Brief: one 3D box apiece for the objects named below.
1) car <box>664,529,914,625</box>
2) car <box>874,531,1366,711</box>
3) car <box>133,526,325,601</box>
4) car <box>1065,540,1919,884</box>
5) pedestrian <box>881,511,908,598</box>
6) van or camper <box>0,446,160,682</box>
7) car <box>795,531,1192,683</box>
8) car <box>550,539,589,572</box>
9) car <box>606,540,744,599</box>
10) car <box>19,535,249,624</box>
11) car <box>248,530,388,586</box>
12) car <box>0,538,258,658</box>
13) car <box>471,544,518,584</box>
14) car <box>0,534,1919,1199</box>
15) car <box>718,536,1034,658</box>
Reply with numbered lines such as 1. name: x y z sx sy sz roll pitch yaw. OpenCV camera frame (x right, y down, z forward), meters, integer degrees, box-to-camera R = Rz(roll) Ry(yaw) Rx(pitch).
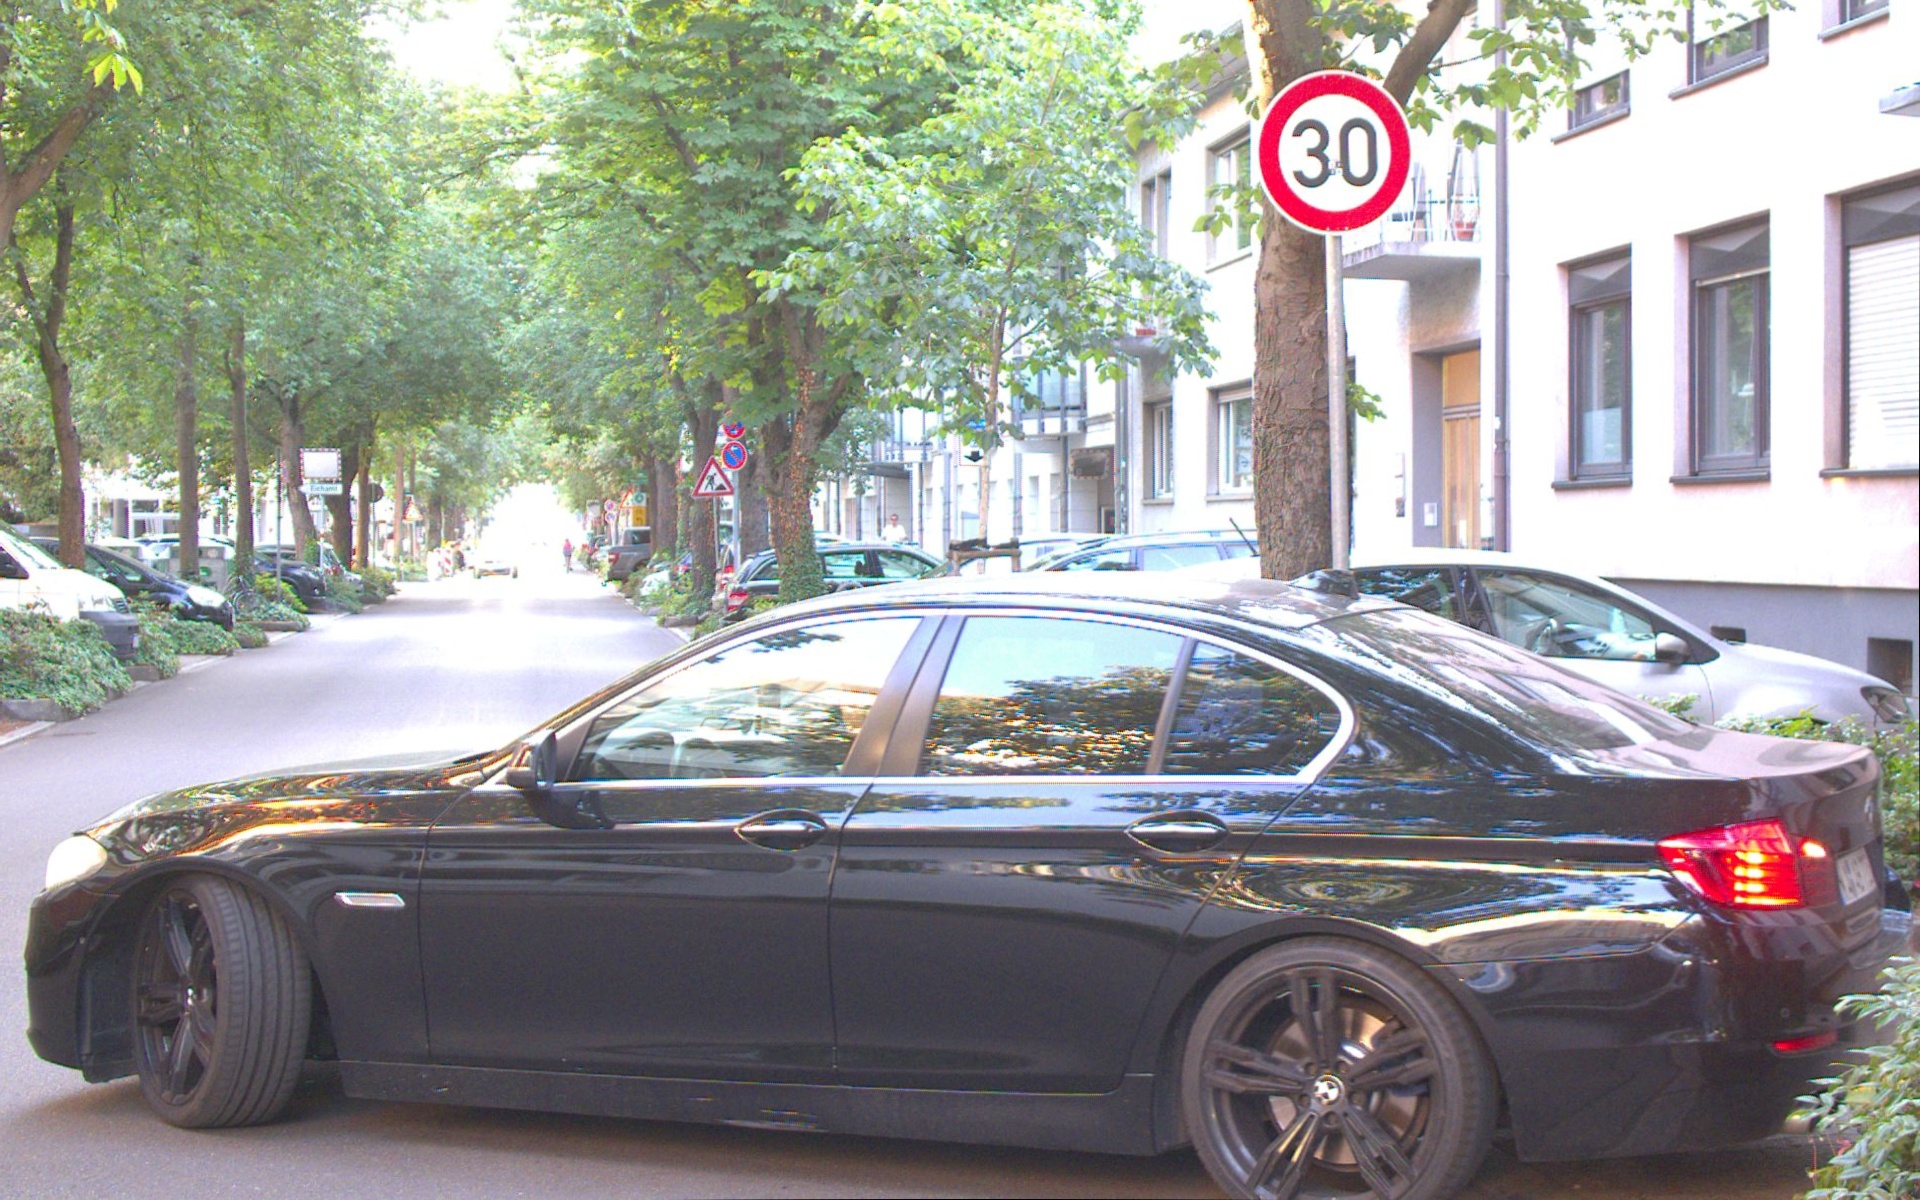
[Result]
1. car: -2.849 -0.393 56.827 3.967 1.522 1.785 -1 1 -8
2. car: 1.341 0.151 29.696 3.967 1.471 1.785 -1 1 -8
3. car: -16.173 -0.825 76.170 3.967 1.614 1.785 0 1 -5
4. car: 2.568 0.468 16.080 3.908 1.471 1.665 -1 1 -8
5. pedestrian: -1.503 -1.047 78.881 0.589 2.007 0.669 0 1 -5
6. van or camper: -11.129 -0.390 37.048 4.662 2.470 2.000 0 1 -7
7. car: 0.319 0.052 36.153 3.967 1.522 1.785 -1 1 -7
8. car: -18.725 -2.131 164.929 1.822 1.525 4.001 -1 1 -6
9. car: -8.354 -0.904 100.779 3.967 1.678 1.785 0 1 -5
10. car: -15.466 -0.392 64.512 3.967 1.614 1.785 0 1 -5
11. car: -19.176 -1.258 102.827 3.967 1.614 1.785 0 1 -5
12. car: -11.927 -0.046 48.047 3.967 1.614 1.785 0 1 -6
13. car: -18.952 -1.486 140.112 1.779 1.557 4.169 0 1 -6
14. car: -0.057 0.581 8.667 4.751 1.475 1.798 0 1 24
15. car: -1.133 -0.061 44.964 3.967 1.522 1.785 -1 1 -7
